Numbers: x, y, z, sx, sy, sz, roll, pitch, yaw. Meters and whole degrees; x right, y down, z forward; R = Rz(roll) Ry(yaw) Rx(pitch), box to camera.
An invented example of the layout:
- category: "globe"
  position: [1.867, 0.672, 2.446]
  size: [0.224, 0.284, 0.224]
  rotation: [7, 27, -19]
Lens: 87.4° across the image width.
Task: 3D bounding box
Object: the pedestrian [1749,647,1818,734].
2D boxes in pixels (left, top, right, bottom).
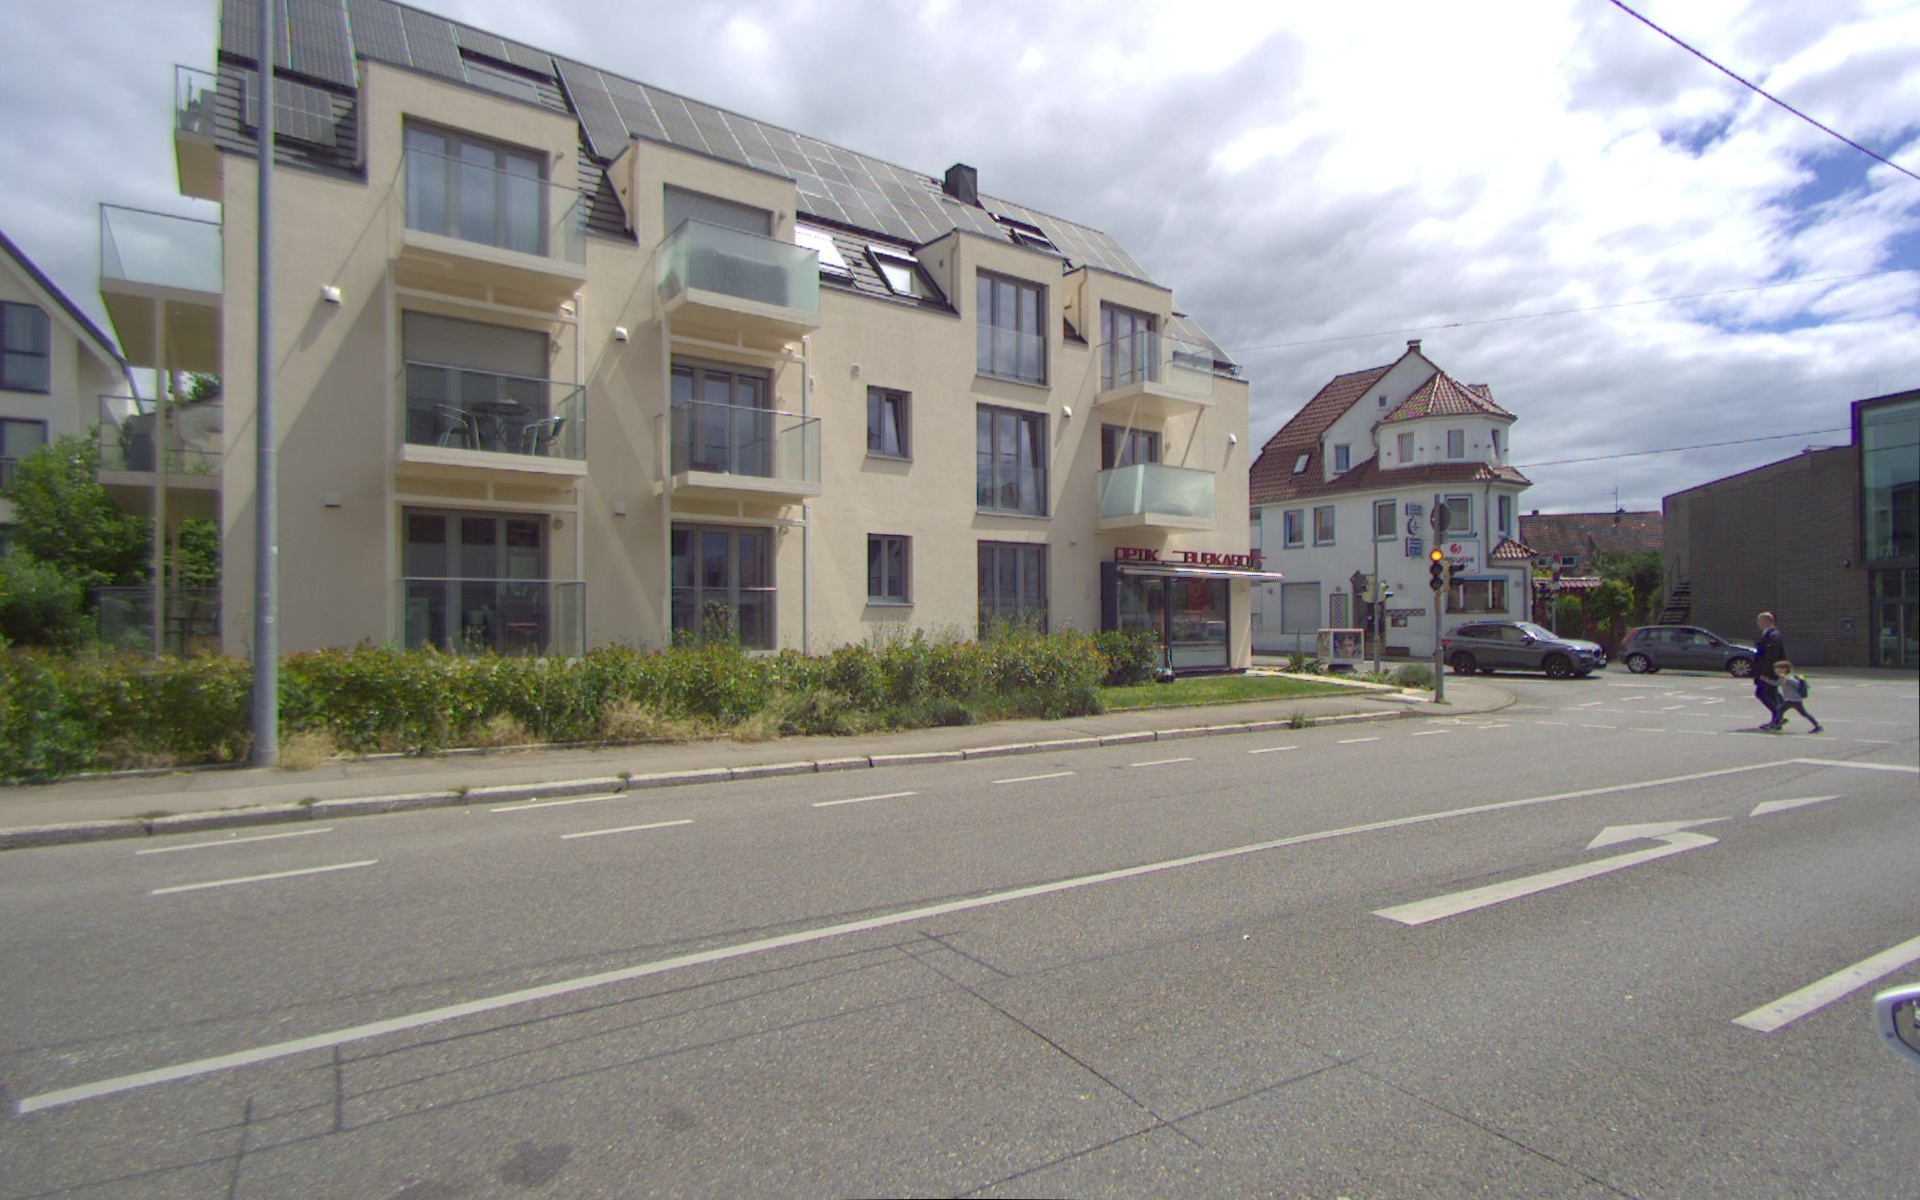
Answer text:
- category: "pedestrian"
  position: [12.462, 1.346, 15.197]
  size: [0.641, 1.238, 0.726]
  rotation: [1, -1, -43]

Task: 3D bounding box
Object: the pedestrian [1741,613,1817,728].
- category: "pedestrian"
  position: [12.900, 1.087, 15.819]
  size: [0.811, 1.744, 0.815]
  rotation: [1, -1, -42]

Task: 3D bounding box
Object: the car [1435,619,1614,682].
- category: "car"
  position: [16.683, 1.432, 29.828]
  size: [1.984, 1.697, 4.256]
  rotation: [1, -1, -40]

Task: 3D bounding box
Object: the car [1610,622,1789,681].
- category: "car"
  position: [21.706, 1.455, 29.571]
  size: [1.986, 1.506, 3.949]
  rotation: [1, 0, -43]
